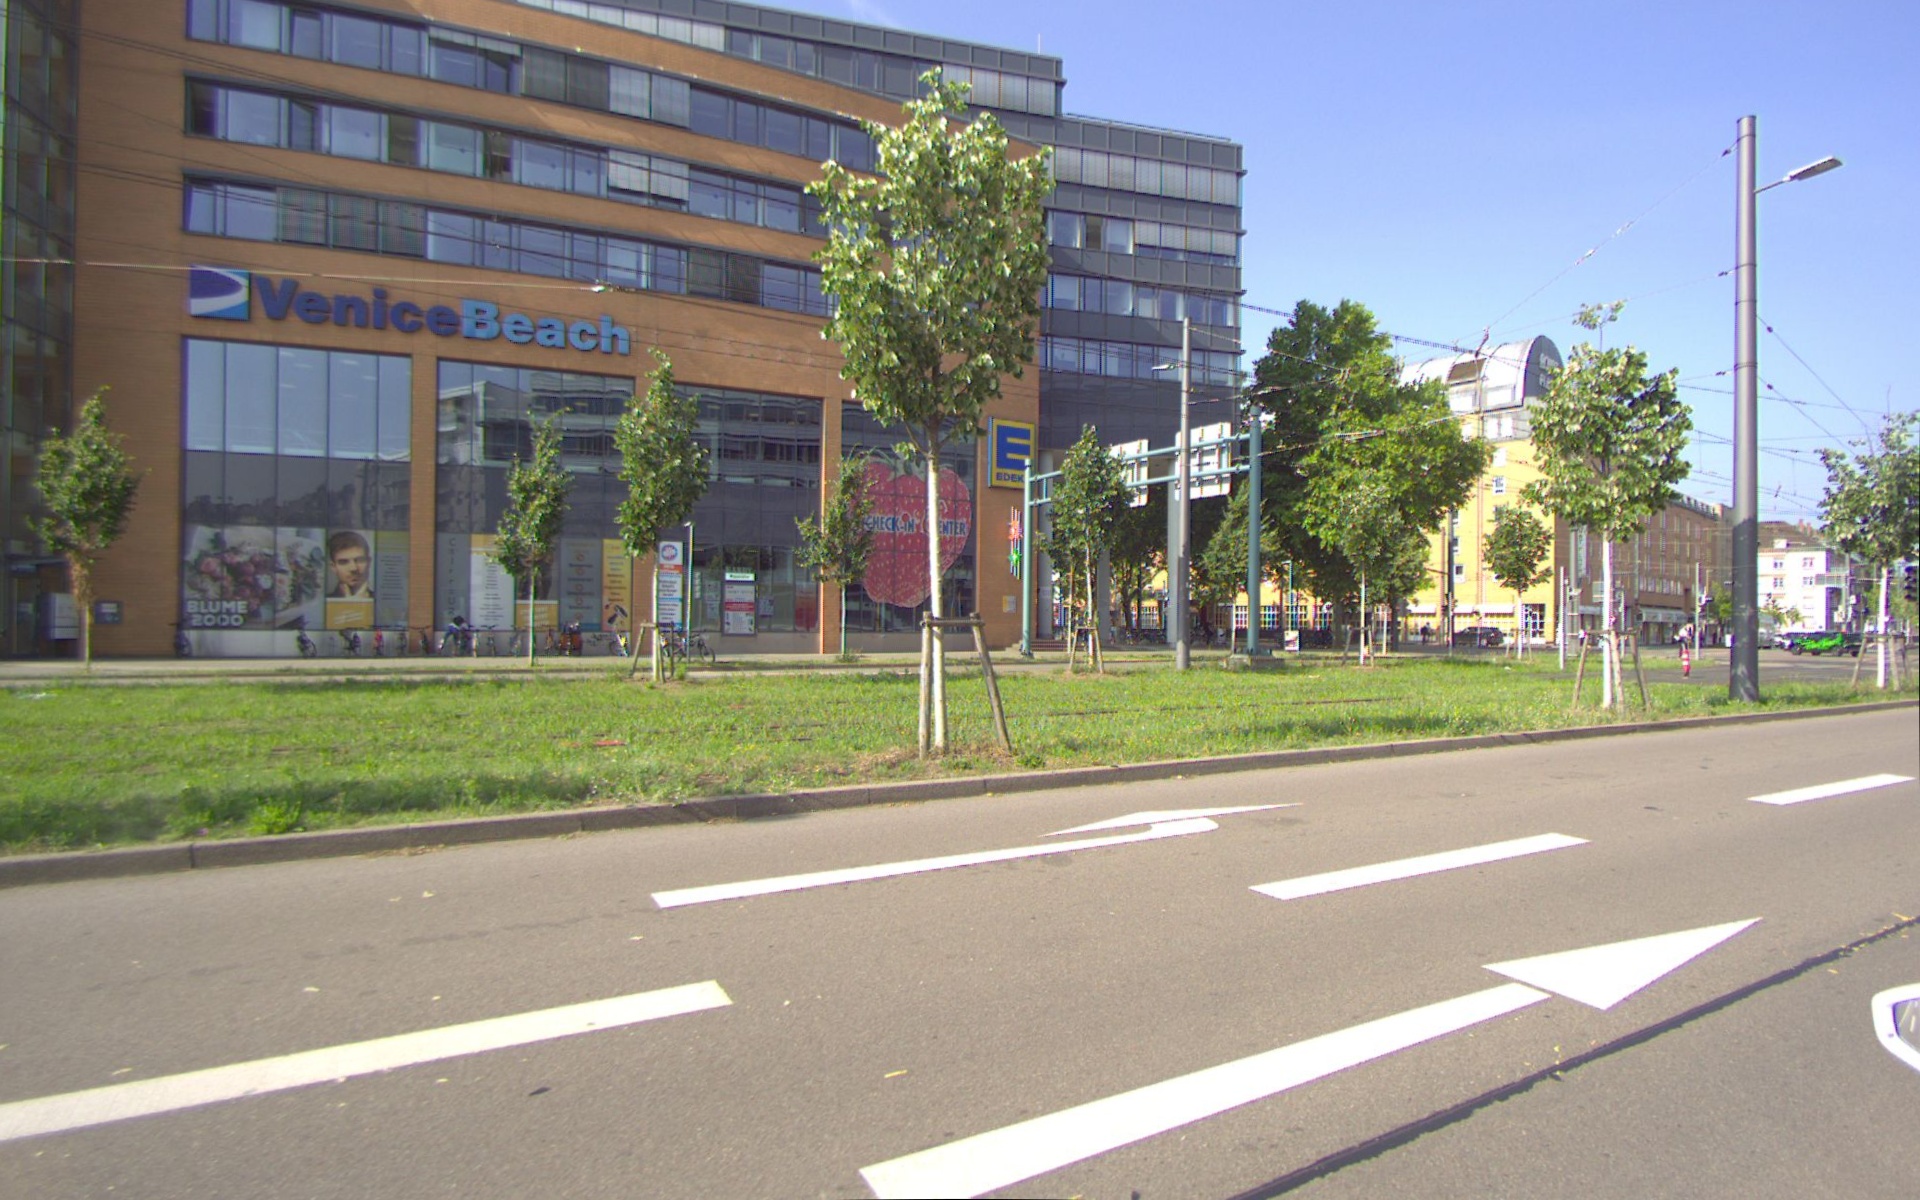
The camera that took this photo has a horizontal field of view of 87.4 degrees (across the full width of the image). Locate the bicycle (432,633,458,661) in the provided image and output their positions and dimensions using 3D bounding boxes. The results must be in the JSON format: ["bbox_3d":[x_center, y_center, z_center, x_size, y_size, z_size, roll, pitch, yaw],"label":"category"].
[{"bbox_3d":[-18.017,1.624,35.195,0.565,0.934,2.045,1,-1,-21],"label":"bicycle"}]

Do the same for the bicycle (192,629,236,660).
[{"bbox_3d":[-24.230,1.439,32.657,0.565,0.934,2.045,1,-1,-21],"label":"bicycle"}]

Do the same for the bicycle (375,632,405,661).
[{"bbox_3d":[-19.557,1.579,34.501,0.565,0.934,2.045,1,-1,-21],"label":"bicycle"}]

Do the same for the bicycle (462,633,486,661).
[{"bbox_3d":[-17.179,1.641,35.536,0.565,0.934,2.045,1,-1,-21],"label":"bicycle"}]

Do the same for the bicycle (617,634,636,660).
[{"bbox_3d":[-12.469,1.744,37.508,0.565,0.934,2.045,1,-1,-21],"label":"bicycle"}]

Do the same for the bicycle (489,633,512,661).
[{"bbox_3d":[-16.422,1.680,35.927,0.565,0.934,2.045,1,-1,-21],"label":"bicycle"}]

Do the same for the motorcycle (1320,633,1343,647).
[{"bbox_3d":[27.104,2.915,73.255,0.282,1.008,1.676,3,-2,-39],"label":"motorcycle"}]

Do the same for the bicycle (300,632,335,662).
[{"bbox_3d":[-21.511,1.552,33.645,0.565,0.934,2.045,1,-1,-21],"label":"bicycle"}]

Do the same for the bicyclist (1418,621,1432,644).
[{"bbox_3d":[36.667,2.582,79.140,0.961,1.769,0.658,4,-2,-44],"label":"bicyclist"}]

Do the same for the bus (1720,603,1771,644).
[{"bbox_3d":[79.403,2.388,101.385,2.718,3.973,12.141,0,-1,44],"label":"bus"}]

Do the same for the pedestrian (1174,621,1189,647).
[{"bbox_3d":[13.671,2.099,62.009,0.652,1.563,0.617,1,-1,-14],"label":"pedestrian"}]

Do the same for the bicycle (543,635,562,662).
[{"bbox_3d":[-14.856,1.749,36.655,0.565,0.934,2.045,1,-1,-21],"label":"bicycle"}]

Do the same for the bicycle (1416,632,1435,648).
[{"bbox_3d":[36.740,3.143,79.223,2.271,1.222,0.543,4,-3,-43],"label":"bicycle"}]

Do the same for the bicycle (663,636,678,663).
[{"bbox_3d":[-11.025,1.877,38.249,0.375,0.934,2.045,1,-1,-21],"label":"bicycle"}]

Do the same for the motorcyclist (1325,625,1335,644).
[{"bbox_3d":[27.033,2.497,73.381,0.415,1.339,0.526,3,-2,-40],"label":"motorcyclist"}]

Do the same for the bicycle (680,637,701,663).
[{"bbox_3d":[-10.367,1.911,38.558,0.565,0.934,2.045,1,-1,-21],"label":"bicycle"}]

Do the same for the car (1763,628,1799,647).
[{"bbox_3d":[68.098,3.088,83.358,1.672,1.512,3.597,0,-1,30],"label":"car"}]

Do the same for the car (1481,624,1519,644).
[{"bbox_3d":[47.541,2.998,88.507,1.960,1.700,4.003,1,-2,15],"label":"car"}]

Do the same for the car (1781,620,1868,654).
[{"bbox_3d":[55.241,2.355,64.273,1.962,2.040,3.998,2,-2,-5],"label":"car"}]

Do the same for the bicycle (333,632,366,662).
[{"bbox_3d":[-20.700,1.575,34.062,0.565,0.934,2.045,1,-1,-21],"label":"bicycle"}]

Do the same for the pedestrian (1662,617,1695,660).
[{"bbox_3d":[34.688,1.865,48.476,0.770,2.040,1.146,3,-2,-40],"label":"pedestrian"}]

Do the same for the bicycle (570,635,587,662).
[{"bbox_3d":[-14.052,1.764,37.037,0.565,0.934,2.045,1,-1,-21],"label":"bicycle"}]

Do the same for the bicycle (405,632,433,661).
[{"bbox_3d":[-18.783,1.592,34.880,0.565,0.934,2.045,1,-1,-21],"label":"bicycle"}]

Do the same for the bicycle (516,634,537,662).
[{"bbox_3d":[-15.642,1.713,36.260,0.565,0.934,2.045,1,-1,-21],"label":"bicycle"}]

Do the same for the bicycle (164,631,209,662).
[{"bbox_3d":[-24.894,1.486,32.360,0.565,0.934,2.045,1,-1,-21],"label":"bicycle"}]

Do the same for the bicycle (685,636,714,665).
[{"bbox_3d":[-8.729,1.685,33.627,0.699,0.919,1.672,2,-1,-23],"label":"bicycle"}]

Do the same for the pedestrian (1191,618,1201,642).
[{"bbox_3d":[19.638,2.492,83.597,0.535,2.040,0.485,3,-2,-40],"label":"pedestrian"}]
